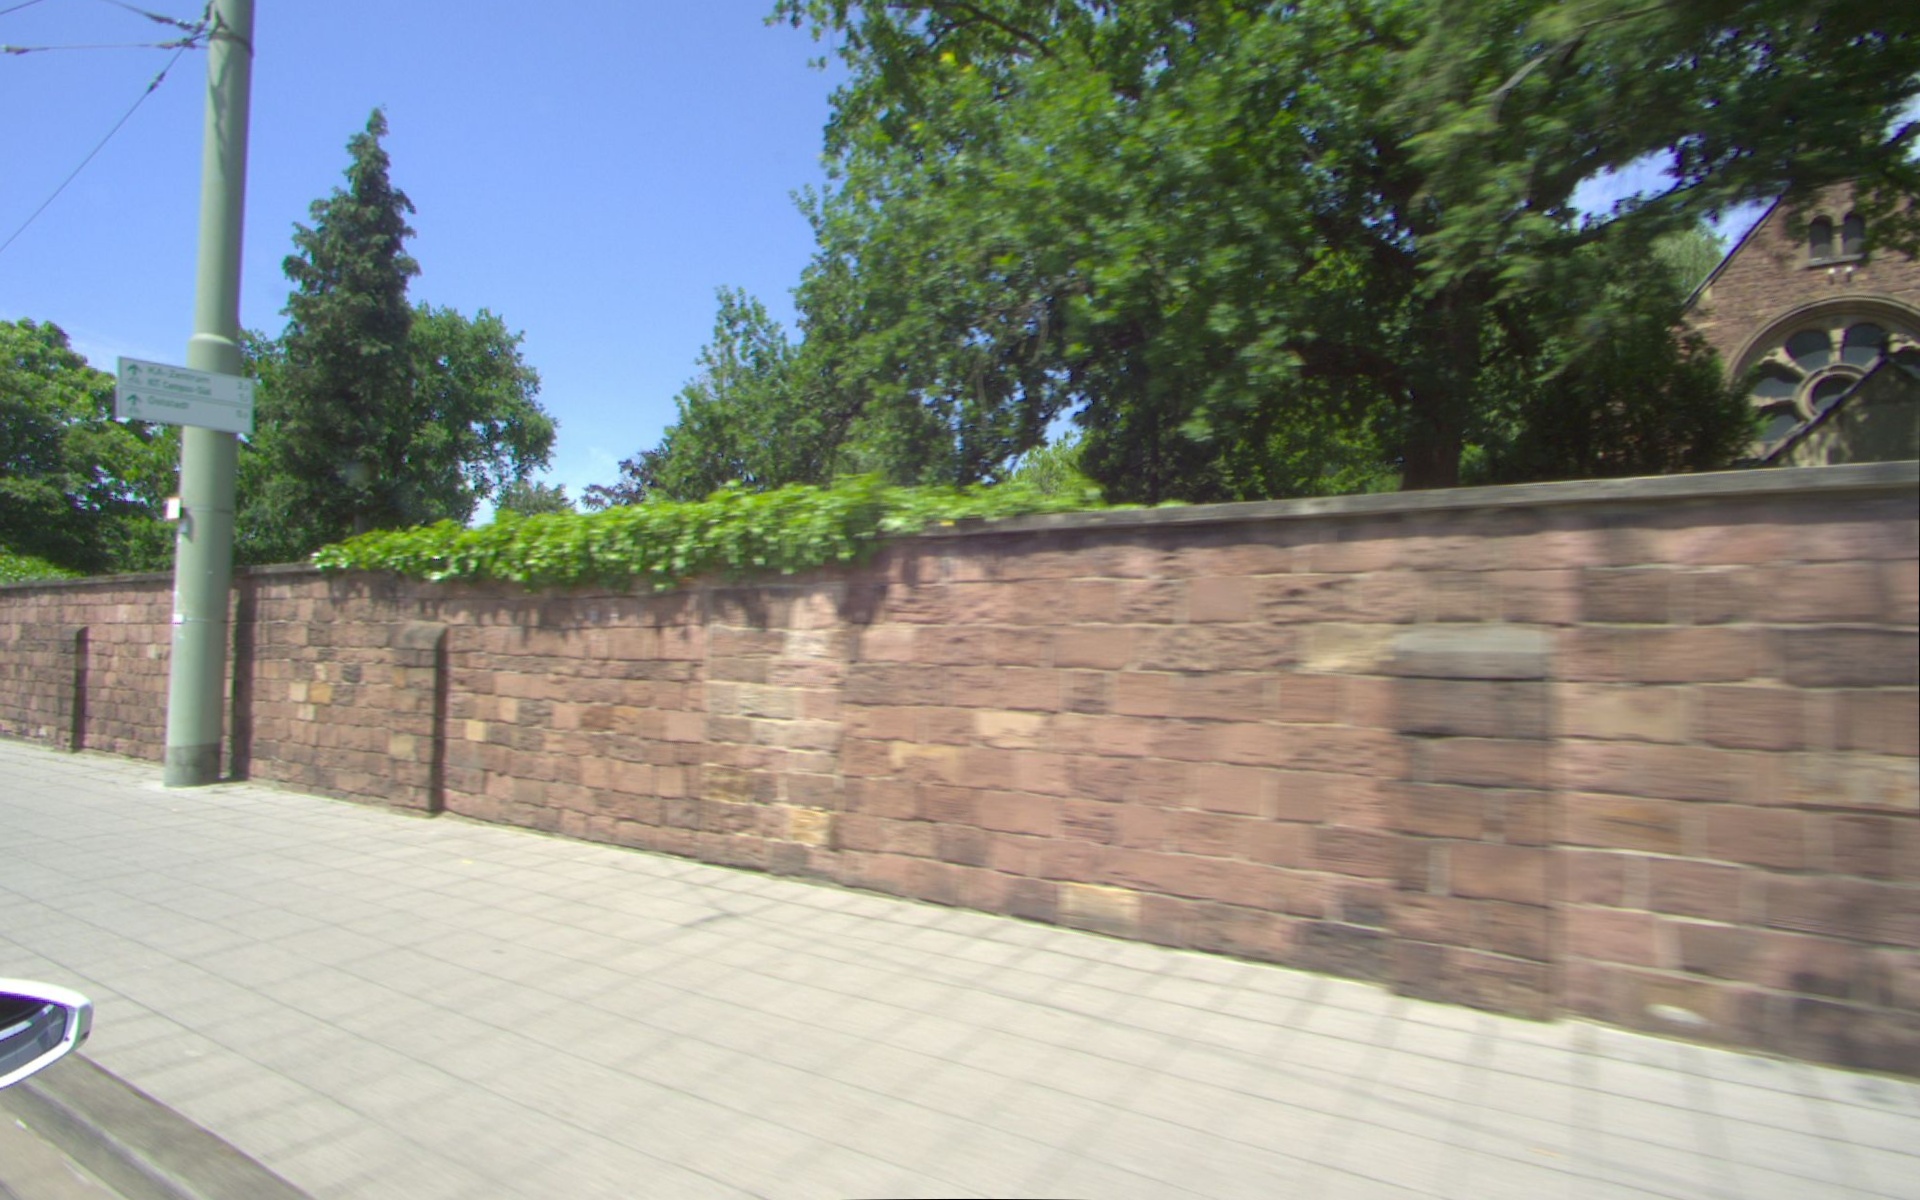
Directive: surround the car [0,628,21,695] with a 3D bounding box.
[{"bbox_3d":[-22.971,1.358,22.824,2.901,1.500,1.480,0,-3,30],"label":"car"}]
